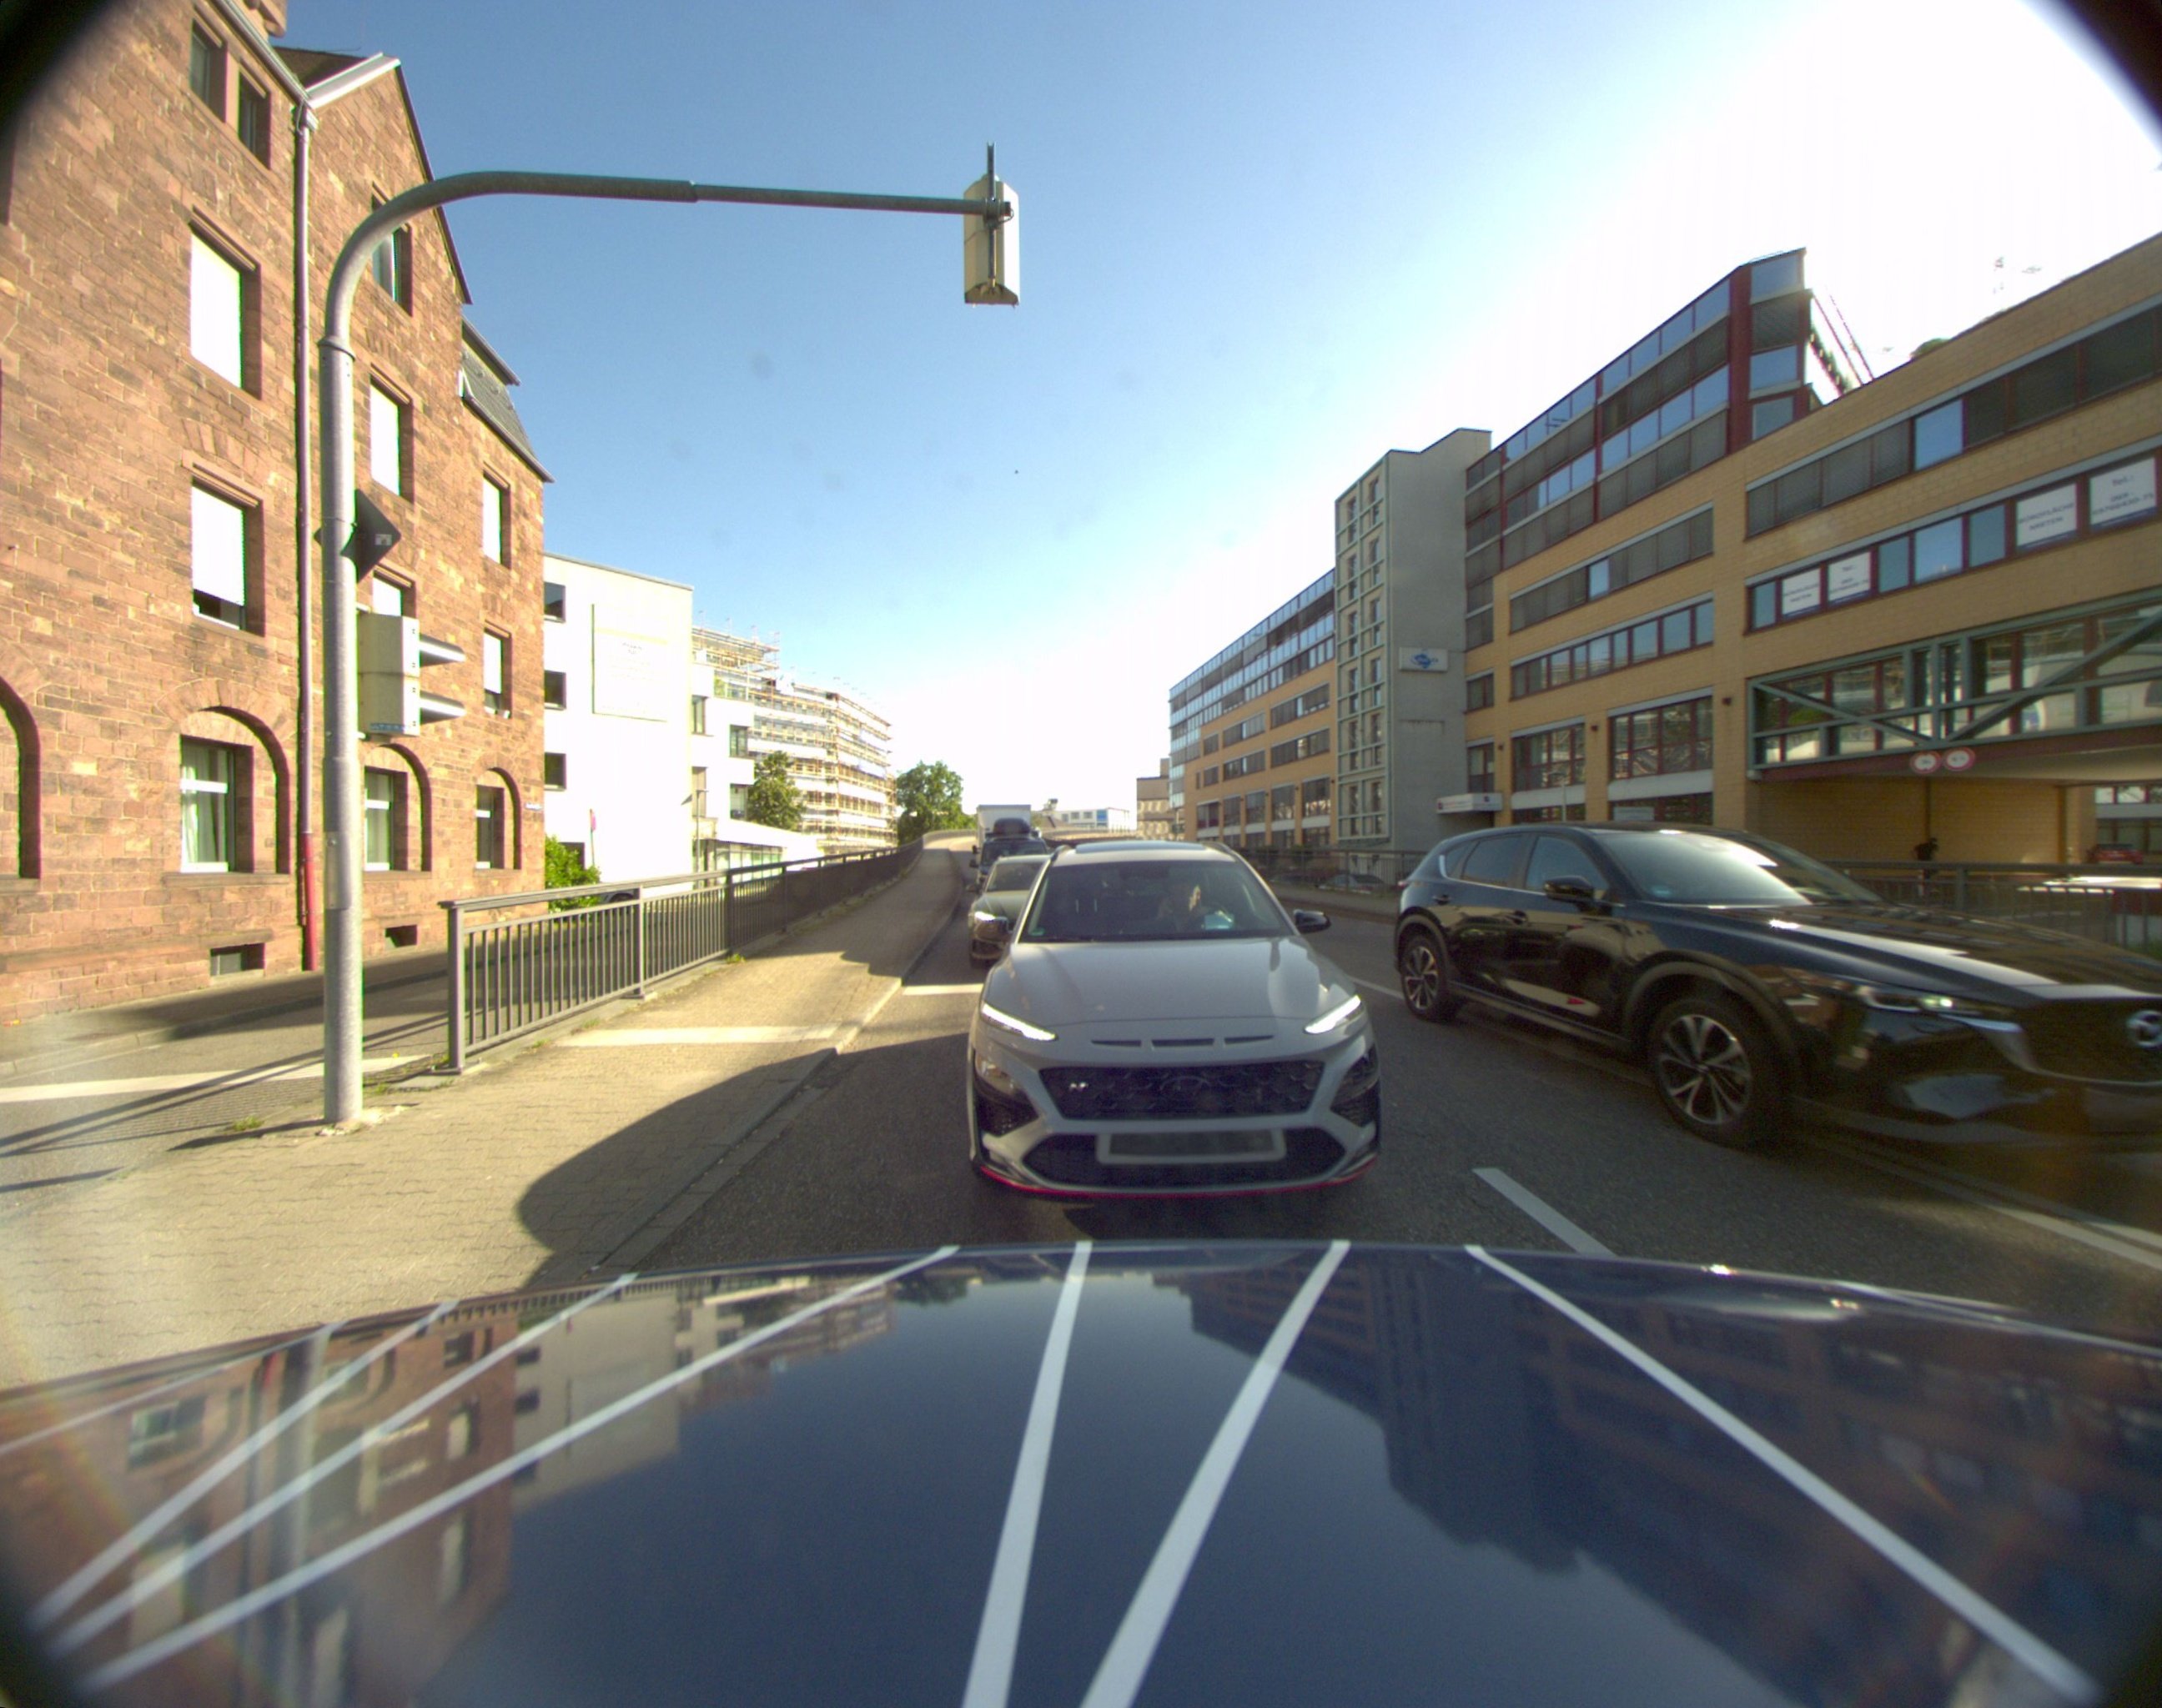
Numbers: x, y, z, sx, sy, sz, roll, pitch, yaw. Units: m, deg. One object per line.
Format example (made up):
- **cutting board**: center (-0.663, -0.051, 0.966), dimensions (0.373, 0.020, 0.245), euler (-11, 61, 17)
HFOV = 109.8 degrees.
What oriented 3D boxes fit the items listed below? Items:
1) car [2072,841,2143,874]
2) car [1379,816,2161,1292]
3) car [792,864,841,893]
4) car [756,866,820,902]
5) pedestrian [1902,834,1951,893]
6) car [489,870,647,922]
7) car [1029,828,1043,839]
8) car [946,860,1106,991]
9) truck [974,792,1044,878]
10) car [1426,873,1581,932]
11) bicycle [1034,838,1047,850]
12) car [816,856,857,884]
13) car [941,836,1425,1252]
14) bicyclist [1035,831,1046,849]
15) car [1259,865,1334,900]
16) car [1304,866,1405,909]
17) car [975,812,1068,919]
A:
- **car**: center (53.915, 0.162, 39.988), dimensions (4.007, 1.512, 1.763), euler (-3, 1, -43)
- **car**: center (3.811, 0.727, 4.881), dimensions (1.879, 1.699, 4.195), euler (0, 0, -4)
- **car**: center (-14.686, 1.328, 42.412), dimensions (2.055, 1.522, 4.089), euler (-1, -1, -12)
- **car**: center (-13.462, 1.351, 35.173), dimensions (2.054, 1.522, 4.089), euler (-1, -1, -11)
- **pedestrian**: center (27.150, 0.302, 24.404), dimensions (0.747, 1.840, 0.705), euler (-2, 0, -5)
- **car**: center (-17.135, 1.338, 25.500), dimensions (4.101, 1.522, 1.914), euler (0, -1, -44)
- **car**: center (-7.414, -3.426, 125.589), dimensions (1.836, 1.745, 4.490), euler (0, 1, 4)
- **car**: center (-0.819, 0.856, 11.313), dimensions (1.879, 1.462, 4.633), euler (0, 1, -4)
- **truck**: center (-3.048, -0.669, 31.051), dimensions (2.504, 3.110, 6.955), euler (-1, 0, -7)
- **car**: center (12.463, 1.356, 22.745), dimensions (1.639, 1.514, 4.156), euler (0, 0, -14)
- **bicycle**: center (-4.404, -1.057, 83.083), dimensions (1.083, 1.223, 2.781), euler (-2, 1, -9)
- **car**: center (-15.929, 1.031, 49.630), dimensions (2.055, 1.676, 4.089), euler (-1, 0, -12)
- **car**: center (0.464, 0.743, 5.062), dimensions (1.878, 1.612, 4.197), euler (0, 0, 2)
- **bicyclist**: center (-4.424, -1.552, 83.055), dimensions (1.083, 1.861, 1.083), euler (-2, 1, -9)
- **car**: center (10.128, 1.309, 36.014), dimensions (1.885, 1.554, 3.997), euler (0, 0, -9)
- **car**: center (10.713, 1.271, 30.140), dimensions (1.881, 1.514, 4.157), euler (0, 0, -11)
- **car**: center (-1.494, 0.260, 18.554), dimensions (1.951, 2.248, 4.783), euler (0, 0, -6)
